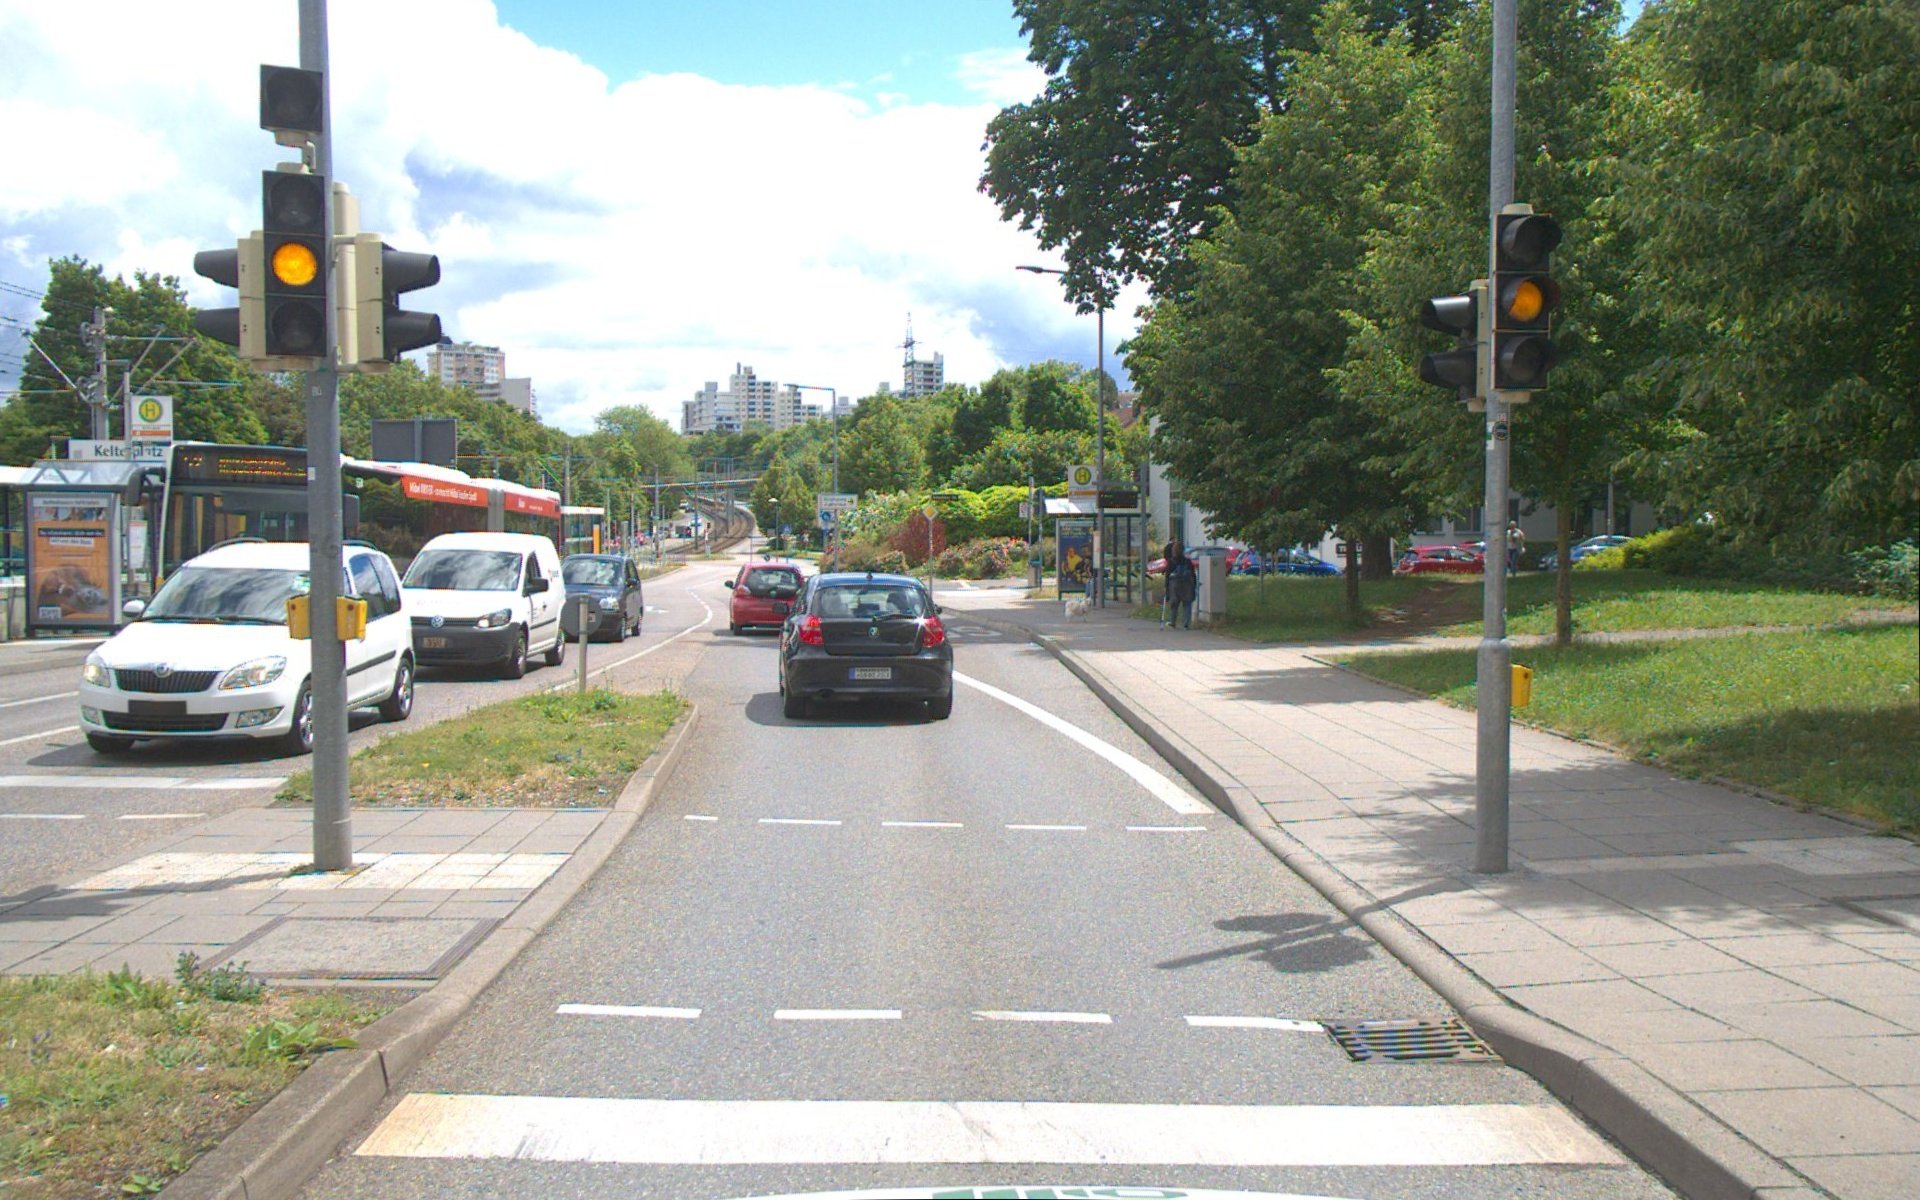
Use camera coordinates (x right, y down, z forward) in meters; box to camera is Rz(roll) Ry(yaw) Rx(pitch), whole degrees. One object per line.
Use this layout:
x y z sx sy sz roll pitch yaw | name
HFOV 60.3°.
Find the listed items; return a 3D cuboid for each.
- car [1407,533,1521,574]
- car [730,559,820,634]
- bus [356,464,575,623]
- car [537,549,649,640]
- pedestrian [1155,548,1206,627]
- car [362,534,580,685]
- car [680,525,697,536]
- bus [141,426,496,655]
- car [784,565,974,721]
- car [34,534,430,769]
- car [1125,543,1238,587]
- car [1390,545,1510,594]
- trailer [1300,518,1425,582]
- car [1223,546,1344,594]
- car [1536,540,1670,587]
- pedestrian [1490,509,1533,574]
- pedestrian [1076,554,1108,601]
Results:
20.596 -1.914 67.683 4.002 1.528 1.998 -2 3 -6 | car
-3.922 -0.113 34.678 1.733 1.457 3.472 -1 2 -9 | car
-10.777 -1.212 37.051 2.672 3.123 8.958 0 1 -3 | bus
-6.825 -0.141 31.055 1.500 1.578 3.729 1 1 -4 | car
4.143 -0.240 31.073 0.803 1.449 0.829 -1 1 -4 | pedestrian
-6.342 0.020 21.990 1.726 1.691 4.505 -1 3 -3 | car
-37.257 -9.539 227.154 1.683 1.529 2.969 0 2 4 | car
-10.249 -0.966 27.798 2.672 3.163 9.699 0 2 -3 | bus
-0.934 0.370 17.724 1.780 1.445 3.996 -1 1 -5 | car
-5.882 0.310 13.928 1.665 1.677 4.077 1 2 -3 | car
8.850 -1.426 66.194 4.079 1.588 1.997 -1 4 -9 | car
17.222 -1.088 58.171 3.616 1.672 1.828 0 3 -7 | car
16.330 -2.067 67.253 4.449 2.529 2.219 0 3 -6 | trailer
11.201 -1.070 57.466 3.721 1.481 1.894 -2 3 -7 | car
22.842 -1.324 58.835 4.001 1.586 1.997 -1 2 -8 | car
15.418 -1.639 46.266 0.965 1.791 0.859 -1 1 6 | pedestrian
3.658 -0.638 45.824 0.810 1.280 0.686 -1 2 -1 | pedestrian
